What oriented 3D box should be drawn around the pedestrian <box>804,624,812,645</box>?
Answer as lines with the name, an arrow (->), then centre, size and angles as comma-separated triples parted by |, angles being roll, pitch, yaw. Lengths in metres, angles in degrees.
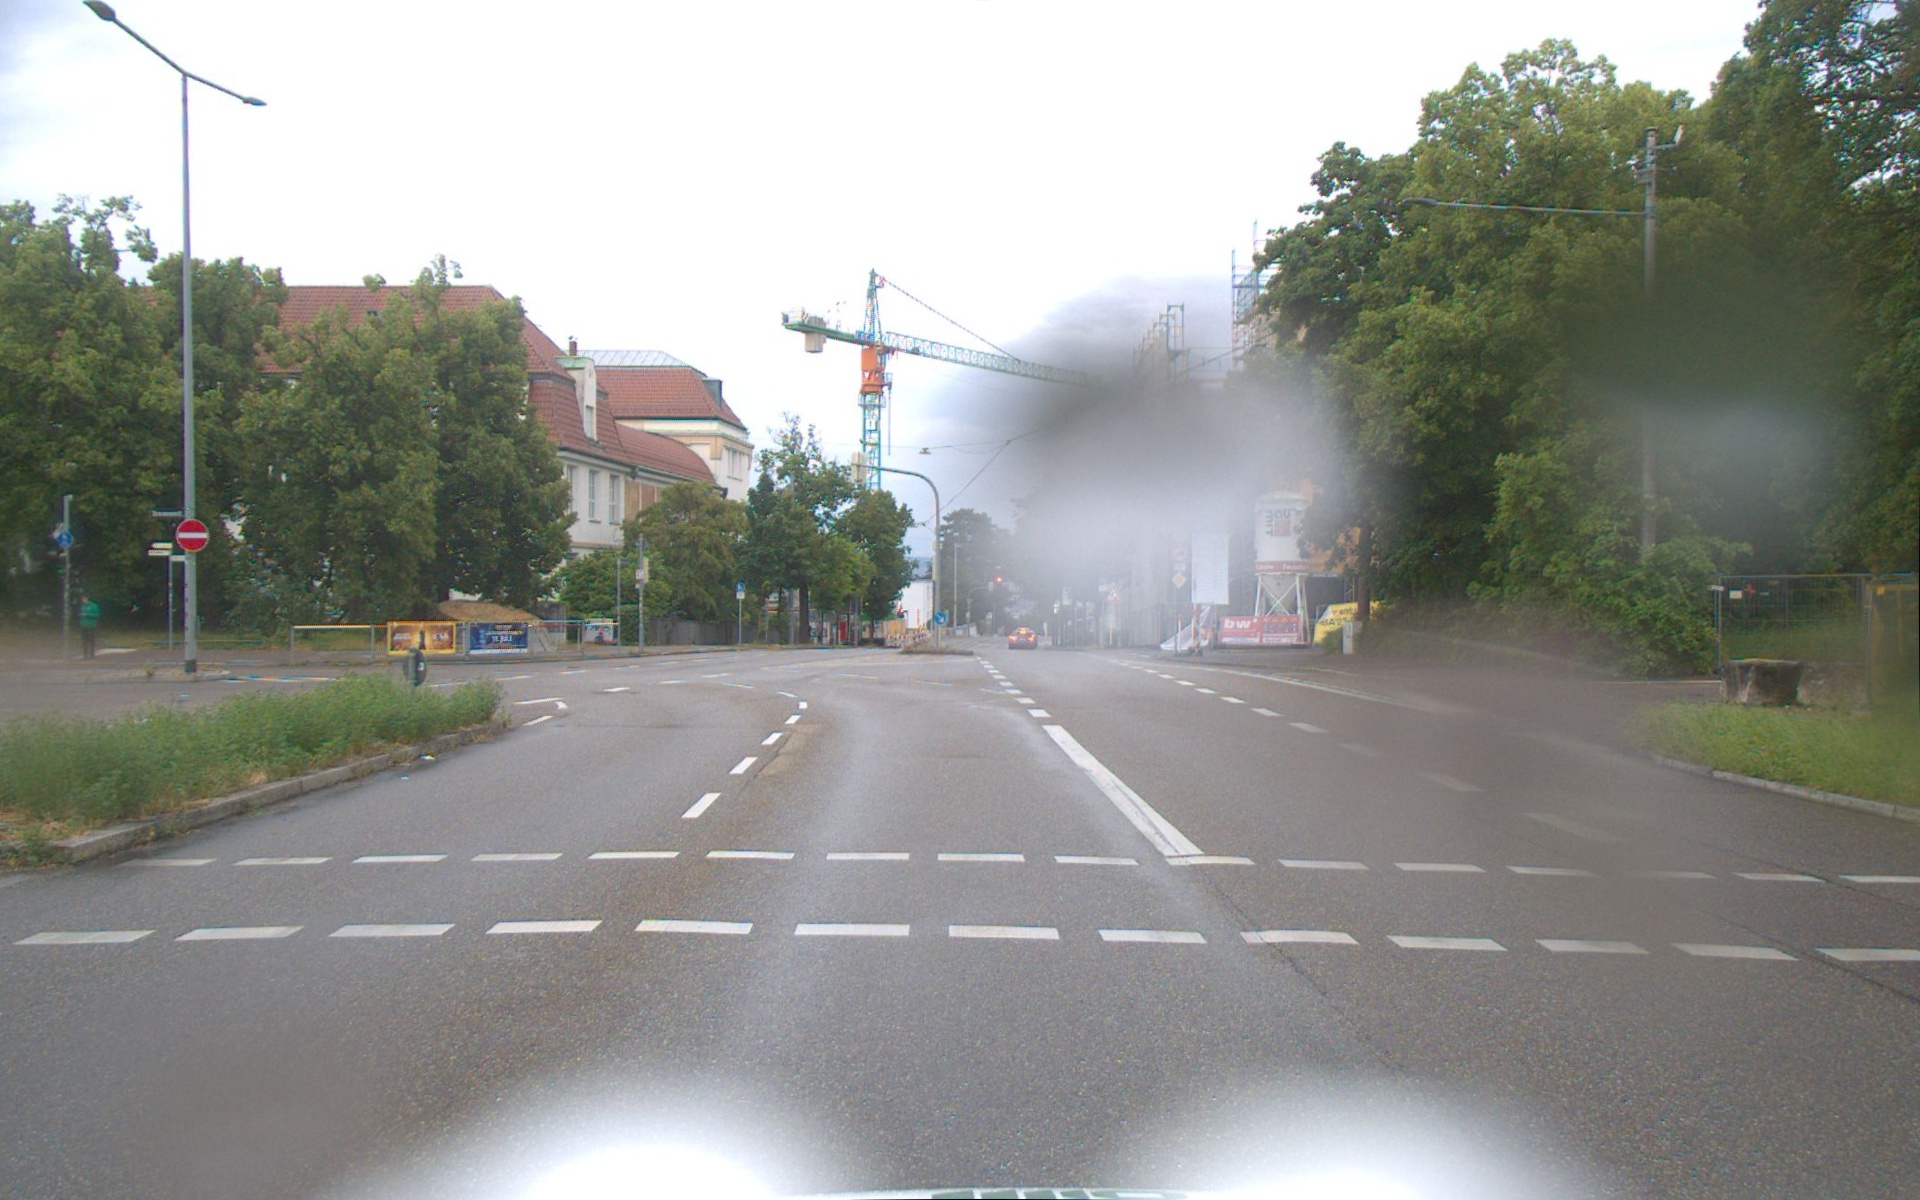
pedestrian -> -10.485, 2.373, 114.058 | 0.465, 1.421, 0.411 | 0, 0, -1

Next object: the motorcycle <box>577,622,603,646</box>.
motorcycle -> -14.418, 1.321, 64.500 | 0.832, 0.893, 0.877 | 1, 0, -1

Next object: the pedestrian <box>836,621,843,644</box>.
pedestrian -> -8.840, 2.364, 120.976 | 0.484, 1.674, 0.533 | 1, -1, -7

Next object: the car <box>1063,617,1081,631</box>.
car -> 14.934, 3.147, 219.521 | 1.951, 1.780, 4.003 | -1, 0, 10

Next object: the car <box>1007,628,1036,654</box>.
car -> 4.599, 3.084, 125.035 | 1.953, 1.780, 3.999 | -1, 0, -1

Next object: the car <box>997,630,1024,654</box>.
car -> 4.029, 3.337, 131.861 | 1.953, 1.780, 3.999 | -1, 0, -1

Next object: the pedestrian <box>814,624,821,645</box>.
pedestrian -> -9.824, 2.362, 114.013 | 0.465, 1.421, 0.411 | 0, 0, -1

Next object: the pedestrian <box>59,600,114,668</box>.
pedestrian -> -23.158, 0.888, 43.874 | 0.903, 1.757, 0.946 | 1, -1, 3
